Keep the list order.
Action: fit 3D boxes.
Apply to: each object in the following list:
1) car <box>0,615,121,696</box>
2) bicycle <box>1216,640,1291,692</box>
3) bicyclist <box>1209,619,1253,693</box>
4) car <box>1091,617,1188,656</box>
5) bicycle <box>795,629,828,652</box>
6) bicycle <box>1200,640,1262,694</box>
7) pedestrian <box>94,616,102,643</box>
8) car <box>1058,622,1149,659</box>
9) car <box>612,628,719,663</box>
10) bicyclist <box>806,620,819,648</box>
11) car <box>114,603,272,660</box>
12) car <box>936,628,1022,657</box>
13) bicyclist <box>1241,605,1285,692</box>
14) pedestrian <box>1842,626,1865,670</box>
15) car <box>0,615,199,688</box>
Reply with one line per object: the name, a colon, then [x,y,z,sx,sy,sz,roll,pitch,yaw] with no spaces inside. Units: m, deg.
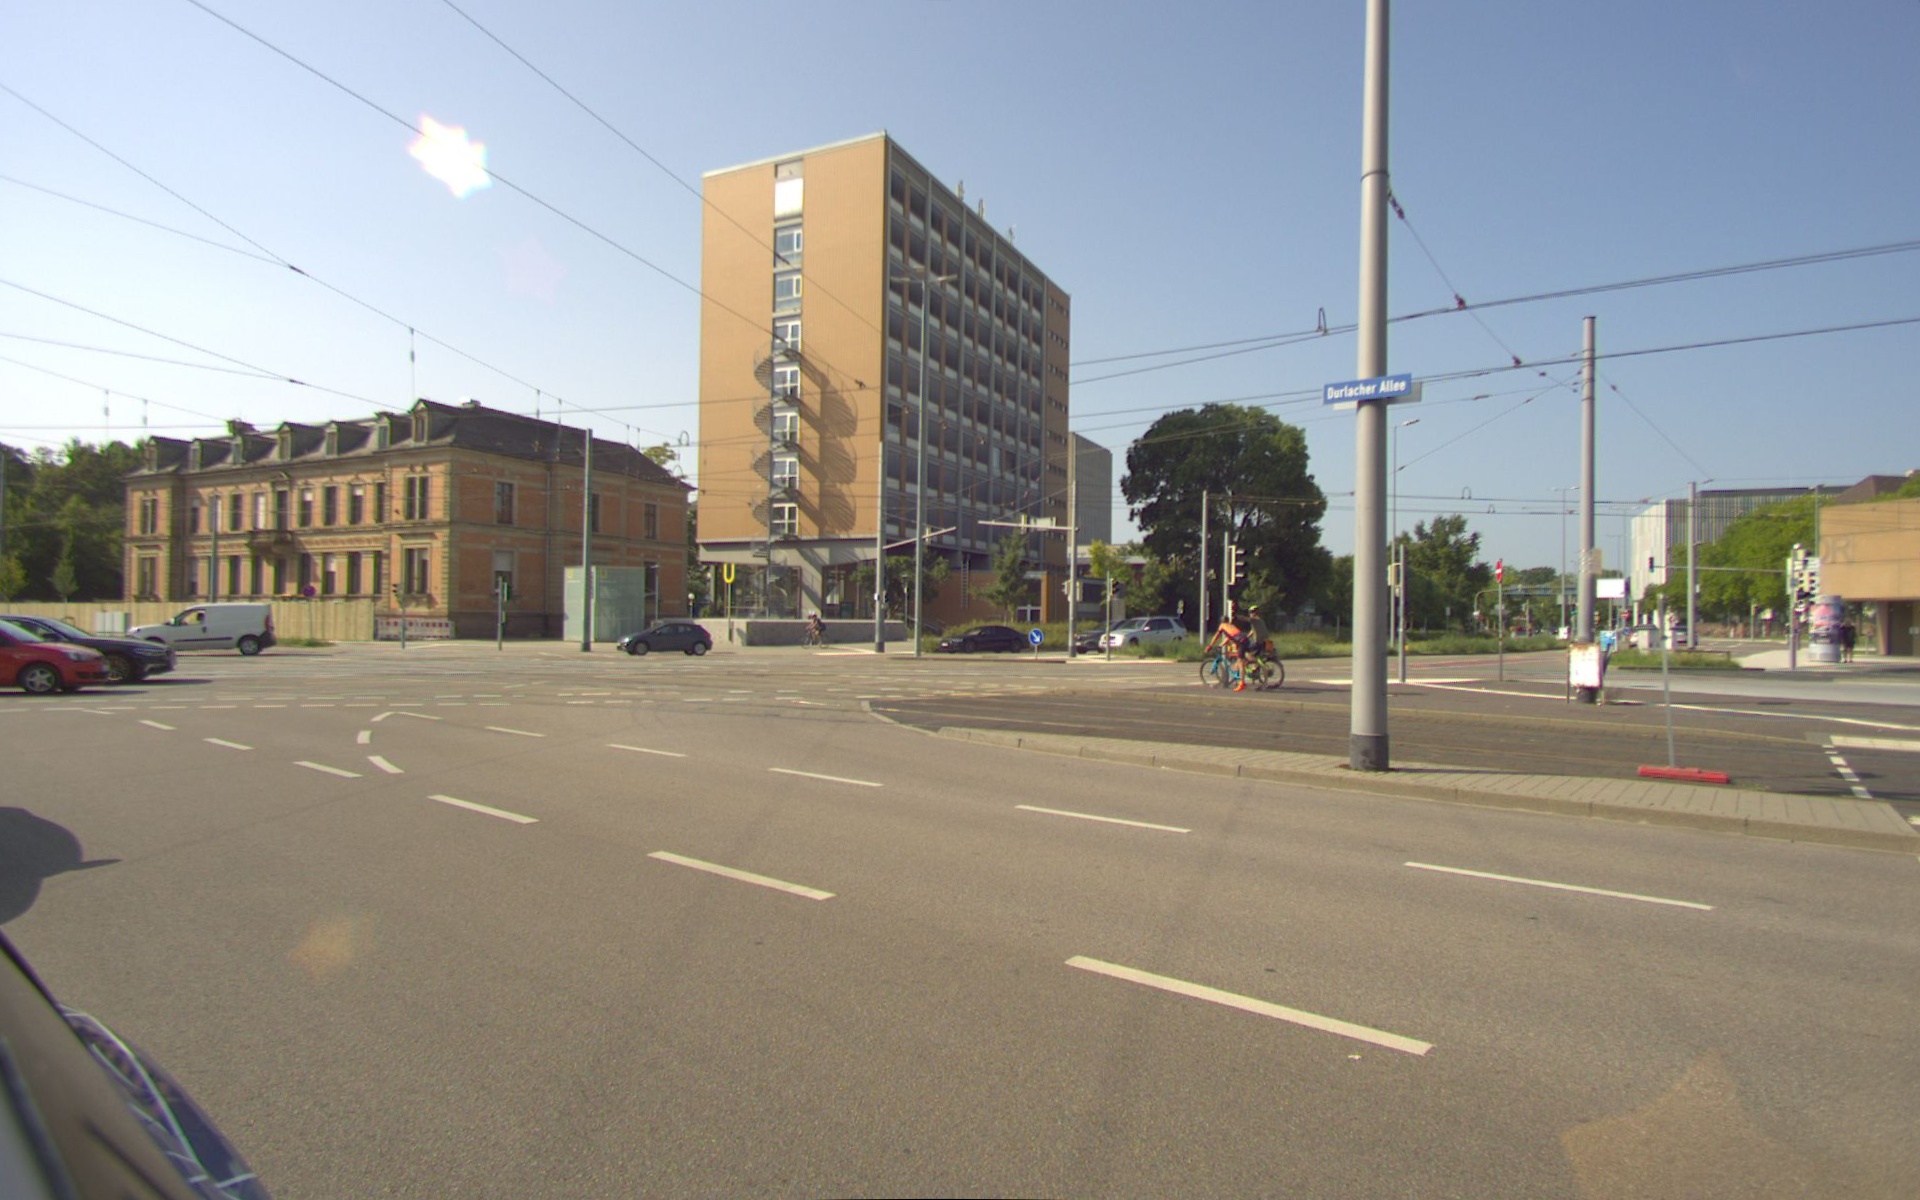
car: [-18.021,0.985,18.363,3.930,1.426,1.809,1,-2,-24]
bicycle: [6.927,1.546,23.987,0.371,1.174,1.863,1,-2,-35]
bicyclist: [6.156,1.263,23.027,0.503,1.642,0.809,1,-2,-36]
car: [8.330,1.702,46.853,4.218,1.720,1.957,2,-4,-35]
bicycle: [-7.929,2.150,54.222,1.743,1.203,0.402,2,-2,-35]
bicycle: [6.162,1.503,23.081,0.306,1.174,1.502,1,-2,-35]
pedestrian: [-50.188,1.700,58.919,0.325,1.542,0.234,0,-2,27]
car: [7.112,2.019,50.134,4.217,1.720,1.931,1,-4,-33]
car: [-12.884,1.983,44.304,4.216,1.476,1.679,1,-4,-31]
bicyclist: [-7.891,1.812,54.253,0.540,1.491,0.398,1,-2,-34]
car: [-26.932,1.130,35.749,4.216,1.901,1.800,1,-4,-31]
car: [1.020,2.221,52.722,4.252,1.476,1.679,1,-4,-32]
bicyclist: [7.103,1.124,23.732,0.571,1.989,0.809,1,-2,-36]
pedestrian: [37.116,1.988,42.041,0.551,1.782,0.404,1,-1,-4]
car: [-19.056,1.070,21.464,4.275,1.463,1.809,1,-2,-20]
